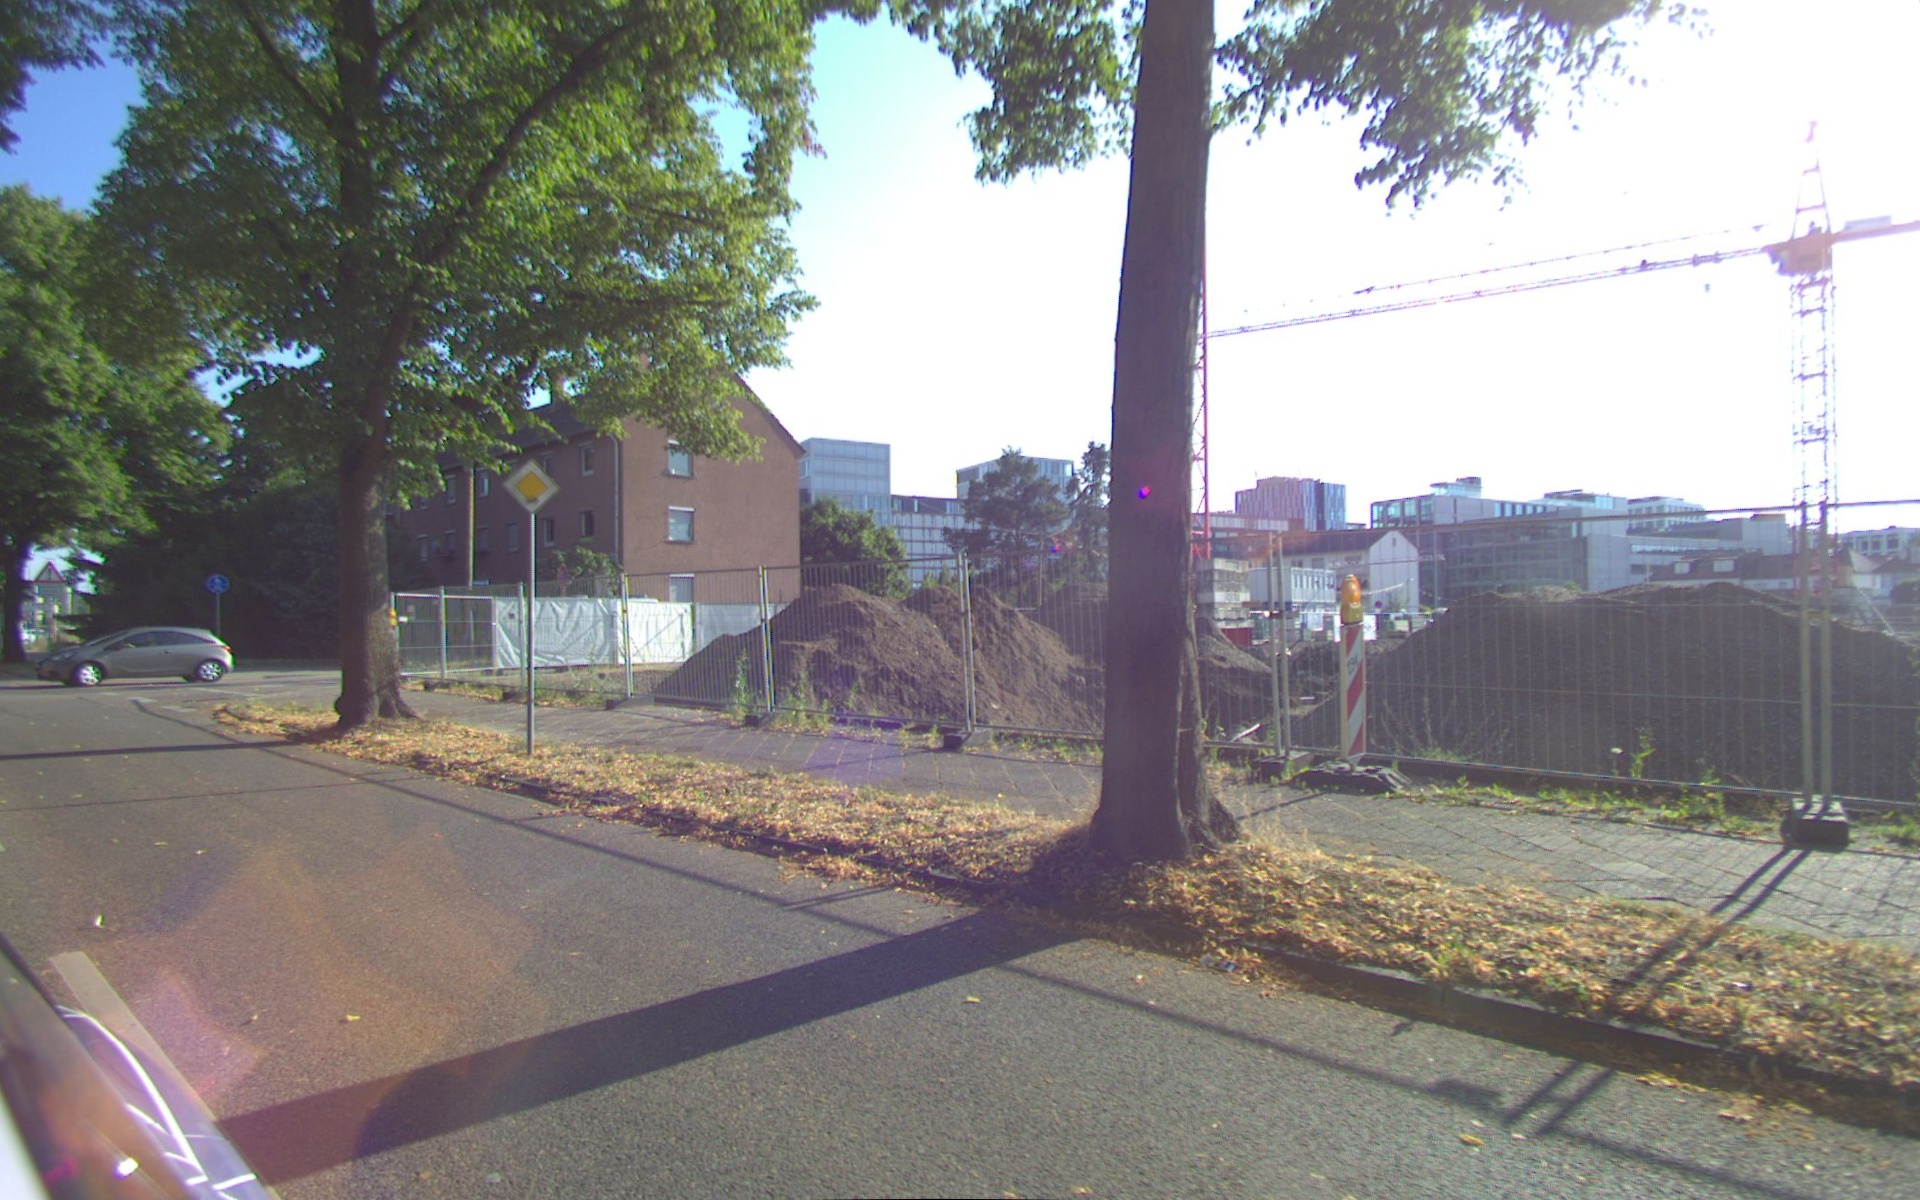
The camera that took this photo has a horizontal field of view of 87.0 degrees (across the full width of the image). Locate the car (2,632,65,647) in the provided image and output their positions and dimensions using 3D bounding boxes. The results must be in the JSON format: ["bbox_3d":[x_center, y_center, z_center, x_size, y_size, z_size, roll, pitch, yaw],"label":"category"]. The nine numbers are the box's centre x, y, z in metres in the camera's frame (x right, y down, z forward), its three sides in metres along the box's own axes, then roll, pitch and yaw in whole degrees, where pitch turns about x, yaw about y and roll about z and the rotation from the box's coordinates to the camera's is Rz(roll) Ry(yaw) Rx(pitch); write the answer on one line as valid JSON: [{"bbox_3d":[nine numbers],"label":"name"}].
[{"bbox_3d":[-99.100,4.219,108.295,2.084,1.394,4.548,-1,-1,27],"label":"car"}]

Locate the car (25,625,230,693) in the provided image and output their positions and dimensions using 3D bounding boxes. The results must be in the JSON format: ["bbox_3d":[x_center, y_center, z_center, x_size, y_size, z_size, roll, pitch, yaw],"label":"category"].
[{"bbox_3d":[-21.080,1.437,25.744,1.650,1.484,3.805,-2,-1,40],"label":"car"}]

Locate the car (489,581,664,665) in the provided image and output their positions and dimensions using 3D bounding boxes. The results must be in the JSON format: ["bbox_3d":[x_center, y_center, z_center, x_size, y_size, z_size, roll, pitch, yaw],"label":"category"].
[{"bbox_3d":[-13.683,0.861,36.328,5.244,2.485,2.172,5,3,-43],"label":"car"}]
